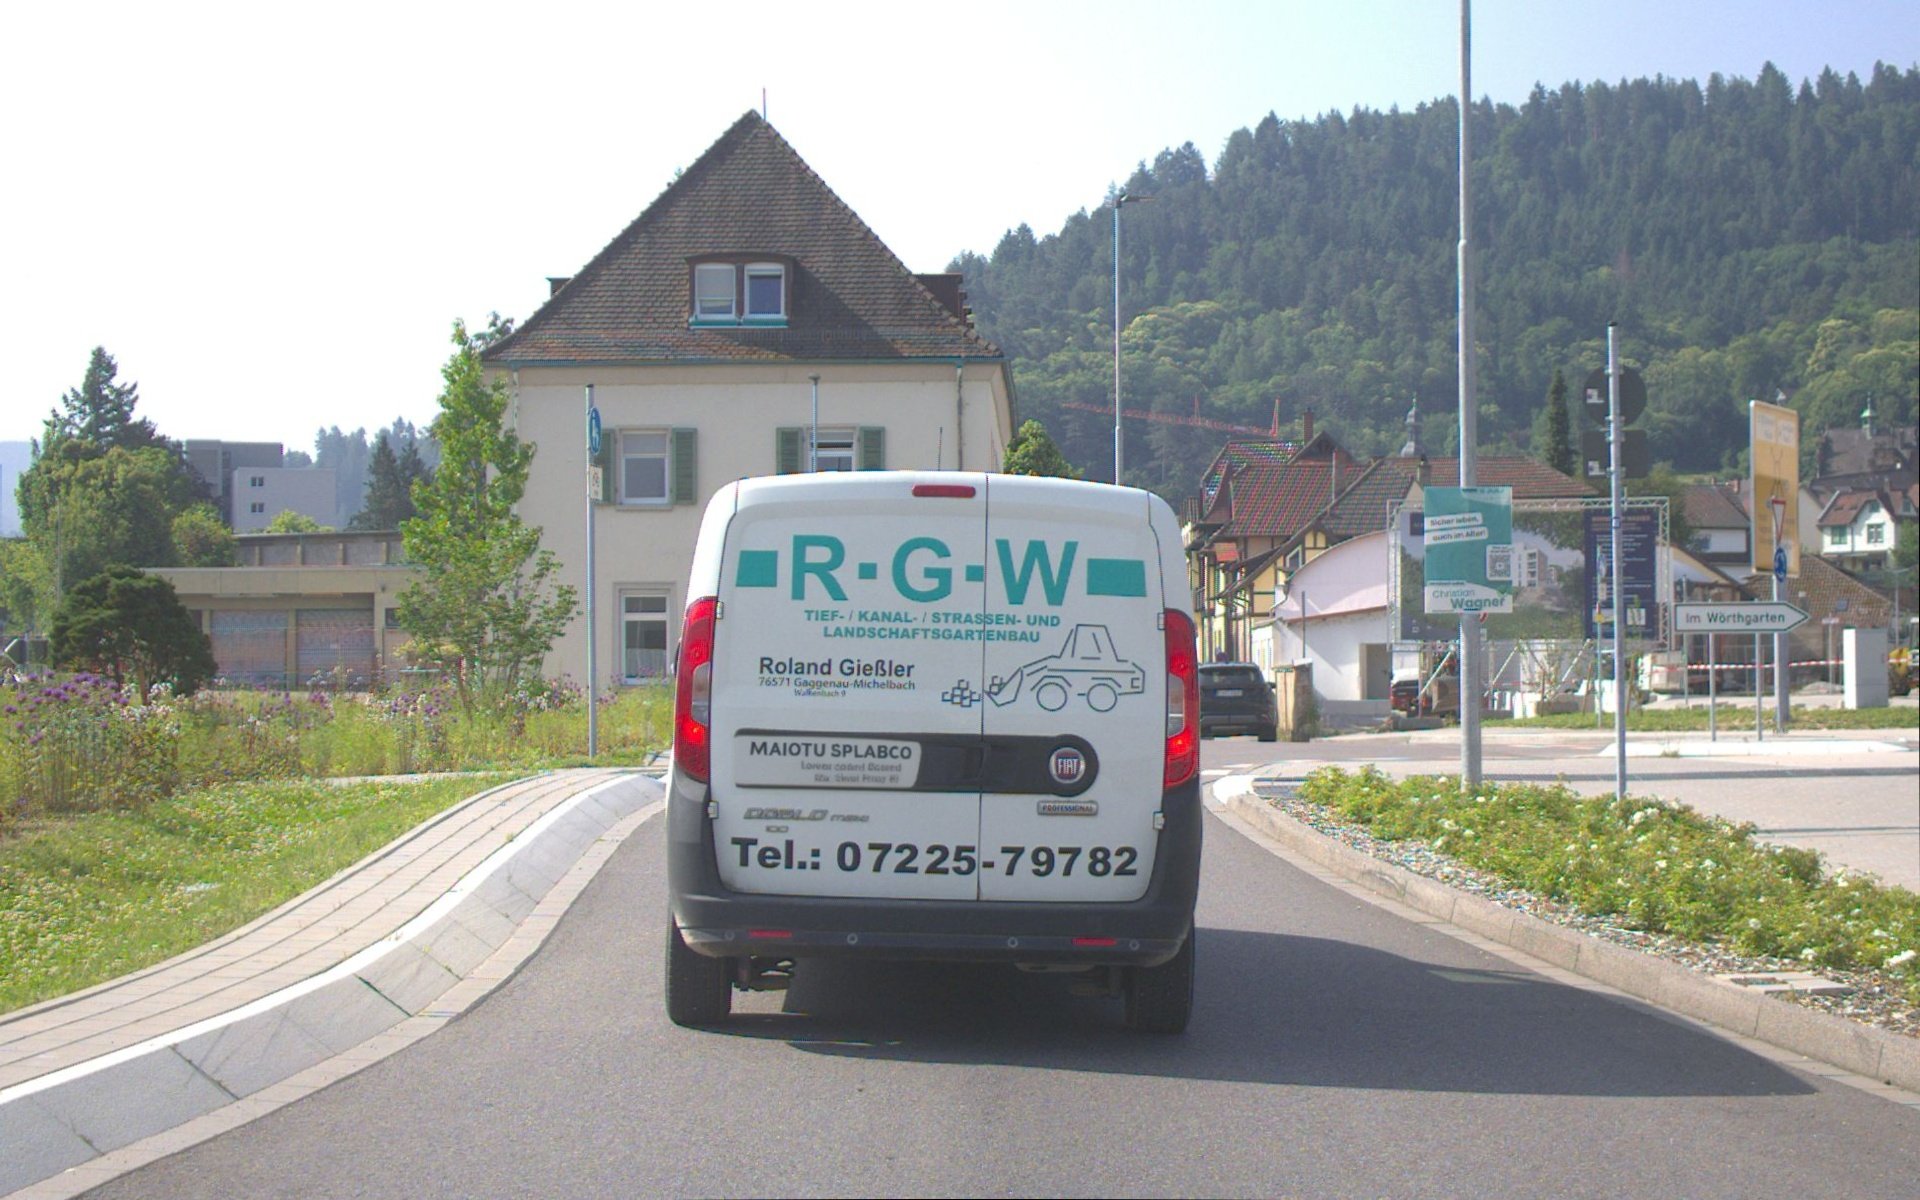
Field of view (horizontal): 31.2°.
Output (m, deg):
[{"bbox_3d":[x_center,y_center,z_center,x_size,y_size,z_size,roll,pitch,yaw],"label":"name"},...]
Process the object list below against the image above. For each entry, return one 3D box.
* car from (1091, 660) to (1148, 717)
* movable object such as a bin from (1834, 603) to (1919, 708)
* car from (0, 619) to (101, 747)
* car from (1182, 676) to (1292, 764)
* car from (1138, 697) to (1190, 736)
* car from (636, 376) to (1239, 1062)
[{"bbox_3d":[5.868,3.255,125.916,1.994,2.007,3.999,-1,-2,4],"label":"car"},{"bbox_3d":[17.120,1.002,62.123,2.444,1.838,1.427,-1,-2,11],"label":"movable object such as a bin"},{"bbox_3d":[-15.477,1.325,56.339,1.809,2.007,4.000,-1,0,-1],"label":"car"},{"bbox_3d":[5.551,2.374,68.541,1.881,1.678,3.998,-1,-2,9],"label":"car"},{"bbox_3d":[5.342,3.045,90.202,1.306,1.000,3.090,-1,-2,3],"label":"car"},{"bbox_3d":[-0.121,0.367,12.915,1.806,2.071,4.604,2,0,-1],"label":"car"}]
